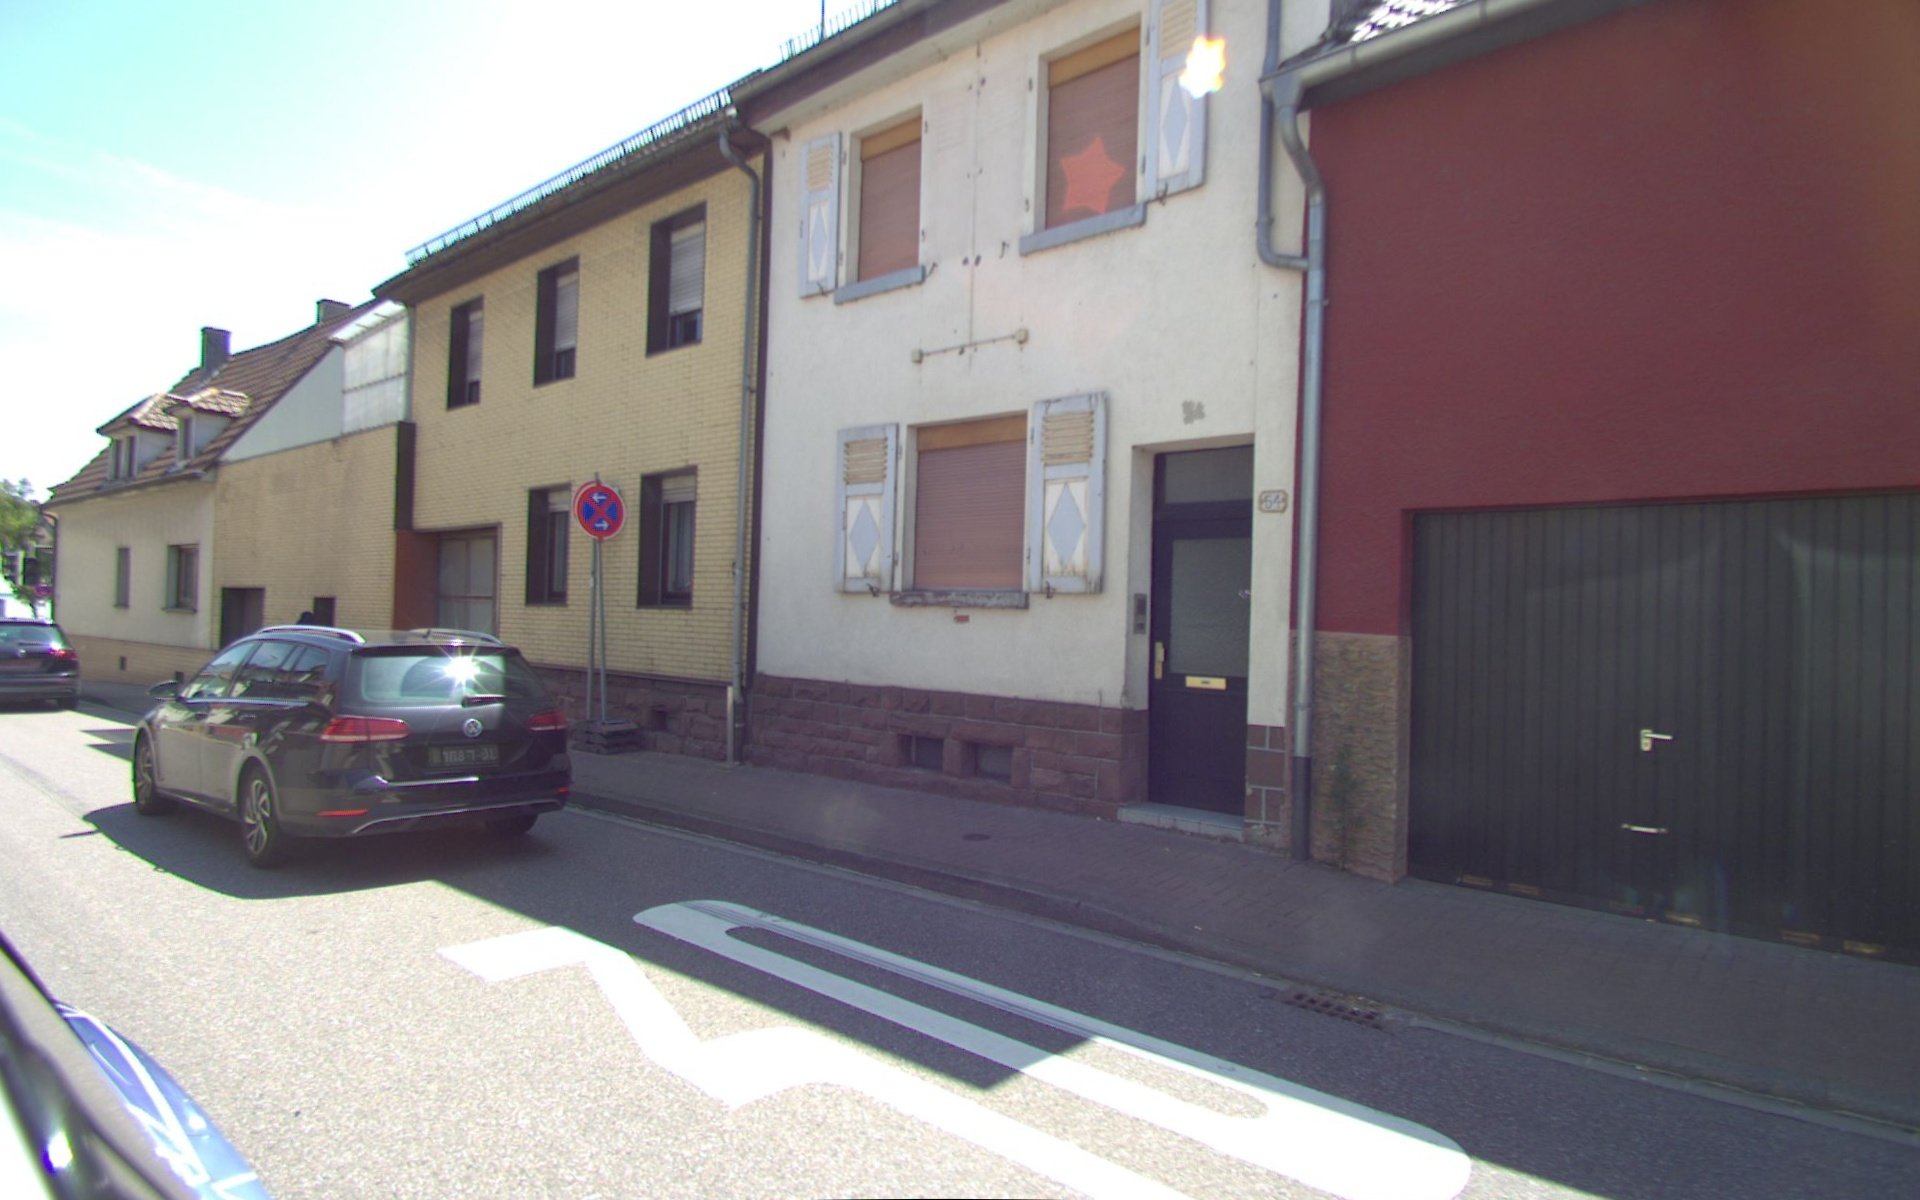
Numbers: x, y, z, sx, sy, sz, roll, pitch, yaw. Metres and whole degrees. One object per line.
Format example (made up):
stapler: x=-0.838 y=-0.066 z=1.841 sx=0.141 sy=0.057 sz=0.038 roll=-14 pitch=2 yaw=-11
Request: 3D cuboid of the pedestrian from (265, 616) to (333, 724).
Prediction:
pedestrian: x=-10.047 y=1.042 z=15.379 sx=0.754 sy=1.576 sz=0.655 roll=0 pitch=-1 yaw=40

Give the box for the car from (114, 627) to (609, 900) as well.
car: x=-4.485 y=0.935 z=7.326 sx=4.195 sy=1.420 sz=1.678 roll=-1 pitch=-3 yaw=39

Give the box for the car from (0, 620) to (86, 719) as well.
car: x=-17.374 y=1.184 z=18.131 sx=4.332 sy=1.621 sz=1.793 roll=-1 pitch=-4 yaw=39

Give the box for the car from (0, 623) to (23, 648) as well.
car: x=-63.134 y=2.300 z=66.140 sx=1.837 sy=1.541 sz=4.013 roll=0 pitch=0 yaw=-28
